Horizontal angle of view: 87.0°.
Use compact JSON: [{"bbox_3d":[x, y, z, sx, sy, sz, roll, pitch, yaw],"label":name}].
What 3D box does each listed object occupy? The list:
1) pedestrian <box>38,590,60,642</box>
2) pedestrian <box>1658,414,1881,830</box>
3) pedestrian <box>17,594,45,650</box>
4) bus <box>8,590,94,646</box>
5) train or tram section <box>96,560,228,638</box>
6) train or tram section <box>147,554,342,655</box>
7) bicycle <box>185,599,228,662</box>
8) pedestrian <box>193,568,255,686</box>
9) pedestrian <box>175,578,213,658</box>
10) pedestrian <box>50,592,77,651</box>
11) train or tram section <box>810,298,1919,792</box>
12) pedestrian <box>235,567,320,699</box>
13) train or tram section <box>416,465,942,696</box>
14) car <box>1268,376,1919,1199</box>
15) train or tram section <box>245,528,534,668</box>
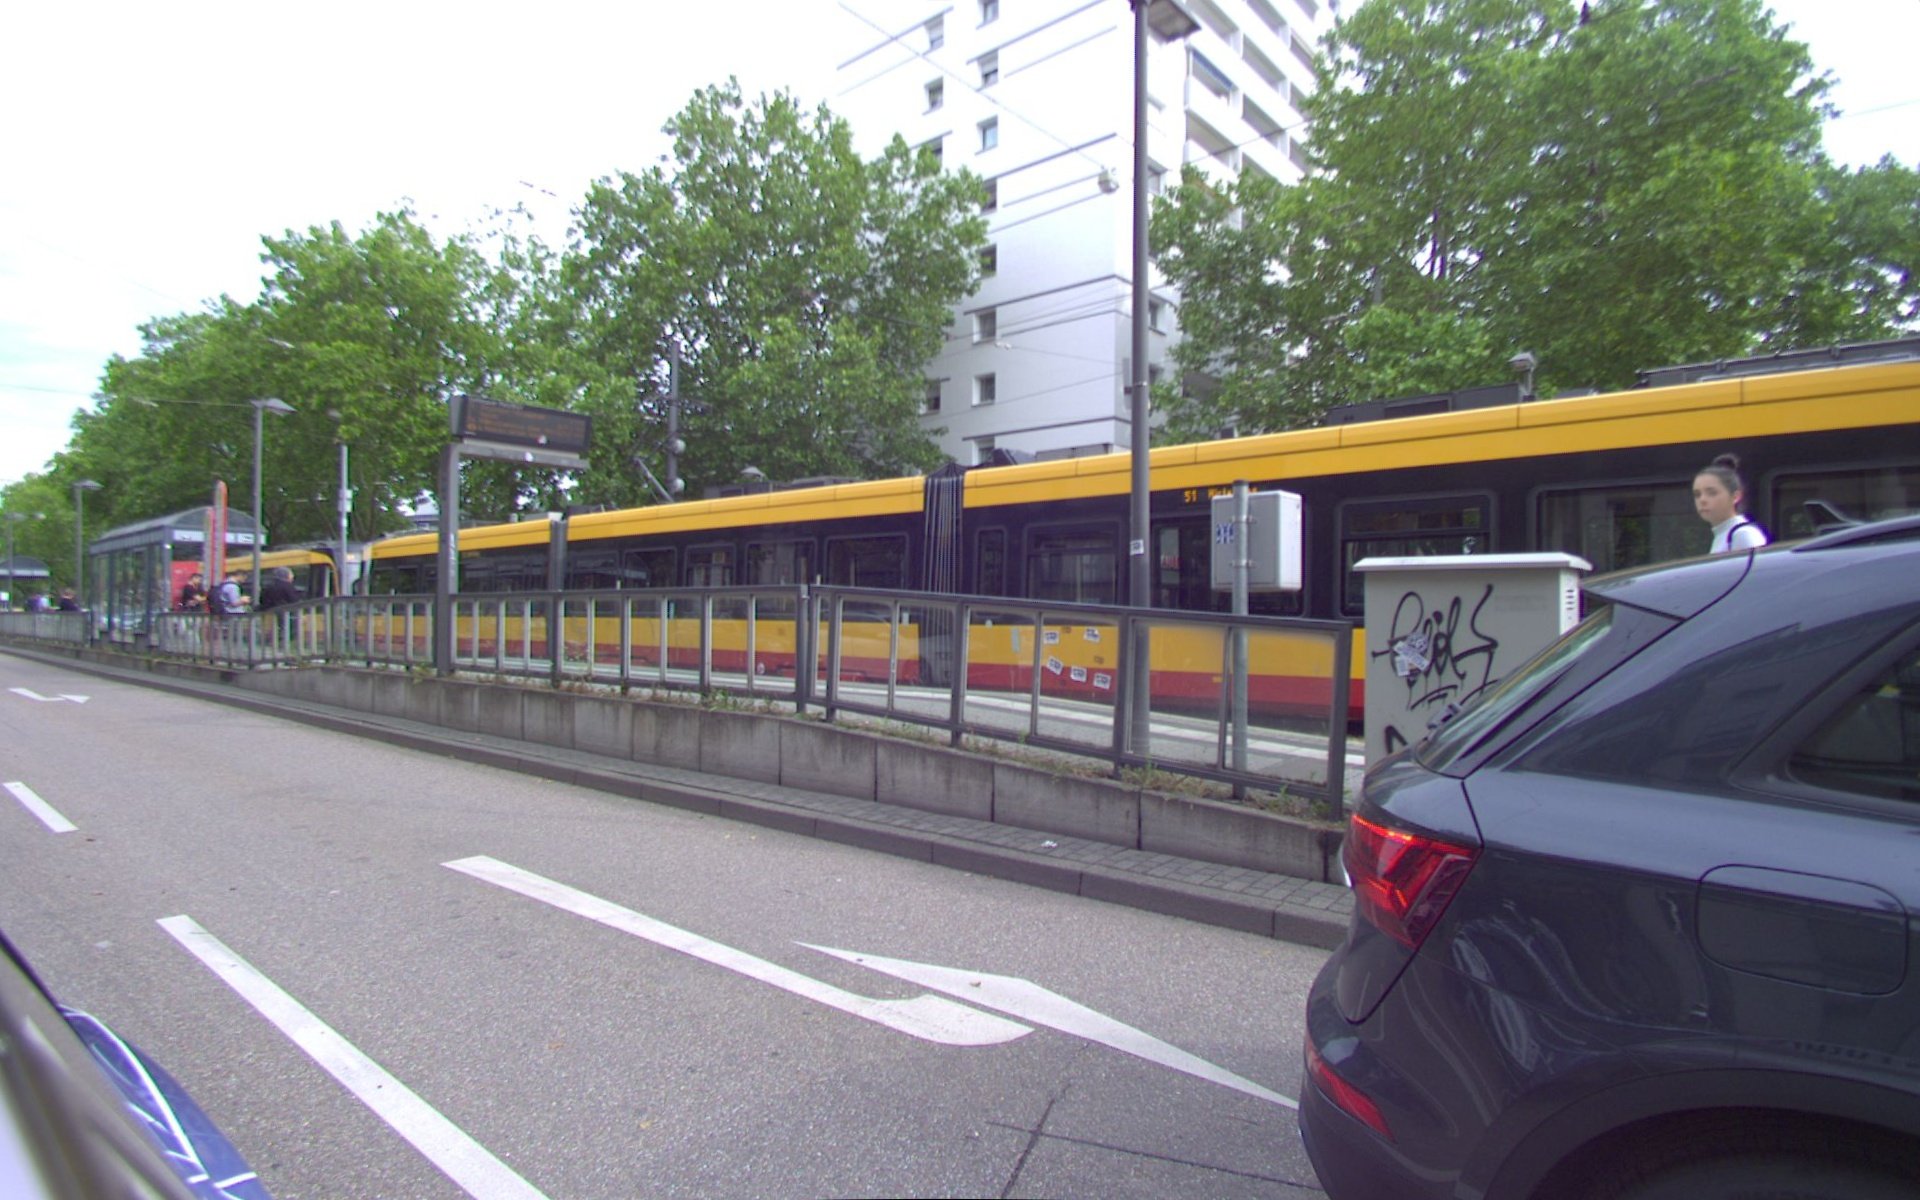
[{"bbox_3d":[-28.992,0.508,32.216,0.392,1.645,0.474,-1,0,42],"label":"pedestrian"},{"bbox_3d":[3.663,0.088,4.595,0.730,1.674,0.746,-1,0,41],"label":"pedestrian"},{"bbox_3d":[-34.236,0.802,37.298,0.587,2.029,0.668,-1,0,38],"label":"pedestrian"},{"bbox_3d":[-34.709,0.650,38.613,3.998,2.029,1.973,0,0,41],"label":"bus"},{"bbox_3d":[-40.821,-0.028,51.533,12.534,3.588,3.060,0,0,41],"label":"train or tram section"},{"bbox_3d":[-30.212,0.189,42.158,15.764,3.558,3.028,0,0,41],"label":"train or tram section"},{"bbox_3d":[-15.048,0.594,20.204,1.289,1.231,0.414,-1,0,41],"label":"bicycle"},{"bbox_3d":[-12.921,0.456,17.789,0.742,2.029,0.821,-1,0,-26],"label":"pedestrian"},{"bbox_3d":[-15.985,0.374,21.116,0.471,1.645,0.526,-1,0,39],"label":"pedestrian"},{"bbox_3d":[-25.545,0.604,28.834,0.730,1.645,0.506,-1,0,42],"label":"pedestrian"},{"bbox_3d":[4.633,-0.392,11.542,15.841,3.615,3.028,0,0,41],"label":"train or tram section"},{"bbox_3d":[-10.717,0.510,15.918,0.808,2.029,0.754,-1,0,4],"label":"pedestrian"},{"bbox_3d":[-7.061,-0.278,21.813,15.287,3.558,3.028,0,0,41],"label":"train or tram section"},{"bbox_3d":[2.771,0.535,1.006,4.354,1.613,1.861,-1,0,40],"label":"car"},{"bbox_3d":[-18.550,-0.030,31.923,15.287,3.558,3.028,0,0,41],"label":"train or tram section"}]
